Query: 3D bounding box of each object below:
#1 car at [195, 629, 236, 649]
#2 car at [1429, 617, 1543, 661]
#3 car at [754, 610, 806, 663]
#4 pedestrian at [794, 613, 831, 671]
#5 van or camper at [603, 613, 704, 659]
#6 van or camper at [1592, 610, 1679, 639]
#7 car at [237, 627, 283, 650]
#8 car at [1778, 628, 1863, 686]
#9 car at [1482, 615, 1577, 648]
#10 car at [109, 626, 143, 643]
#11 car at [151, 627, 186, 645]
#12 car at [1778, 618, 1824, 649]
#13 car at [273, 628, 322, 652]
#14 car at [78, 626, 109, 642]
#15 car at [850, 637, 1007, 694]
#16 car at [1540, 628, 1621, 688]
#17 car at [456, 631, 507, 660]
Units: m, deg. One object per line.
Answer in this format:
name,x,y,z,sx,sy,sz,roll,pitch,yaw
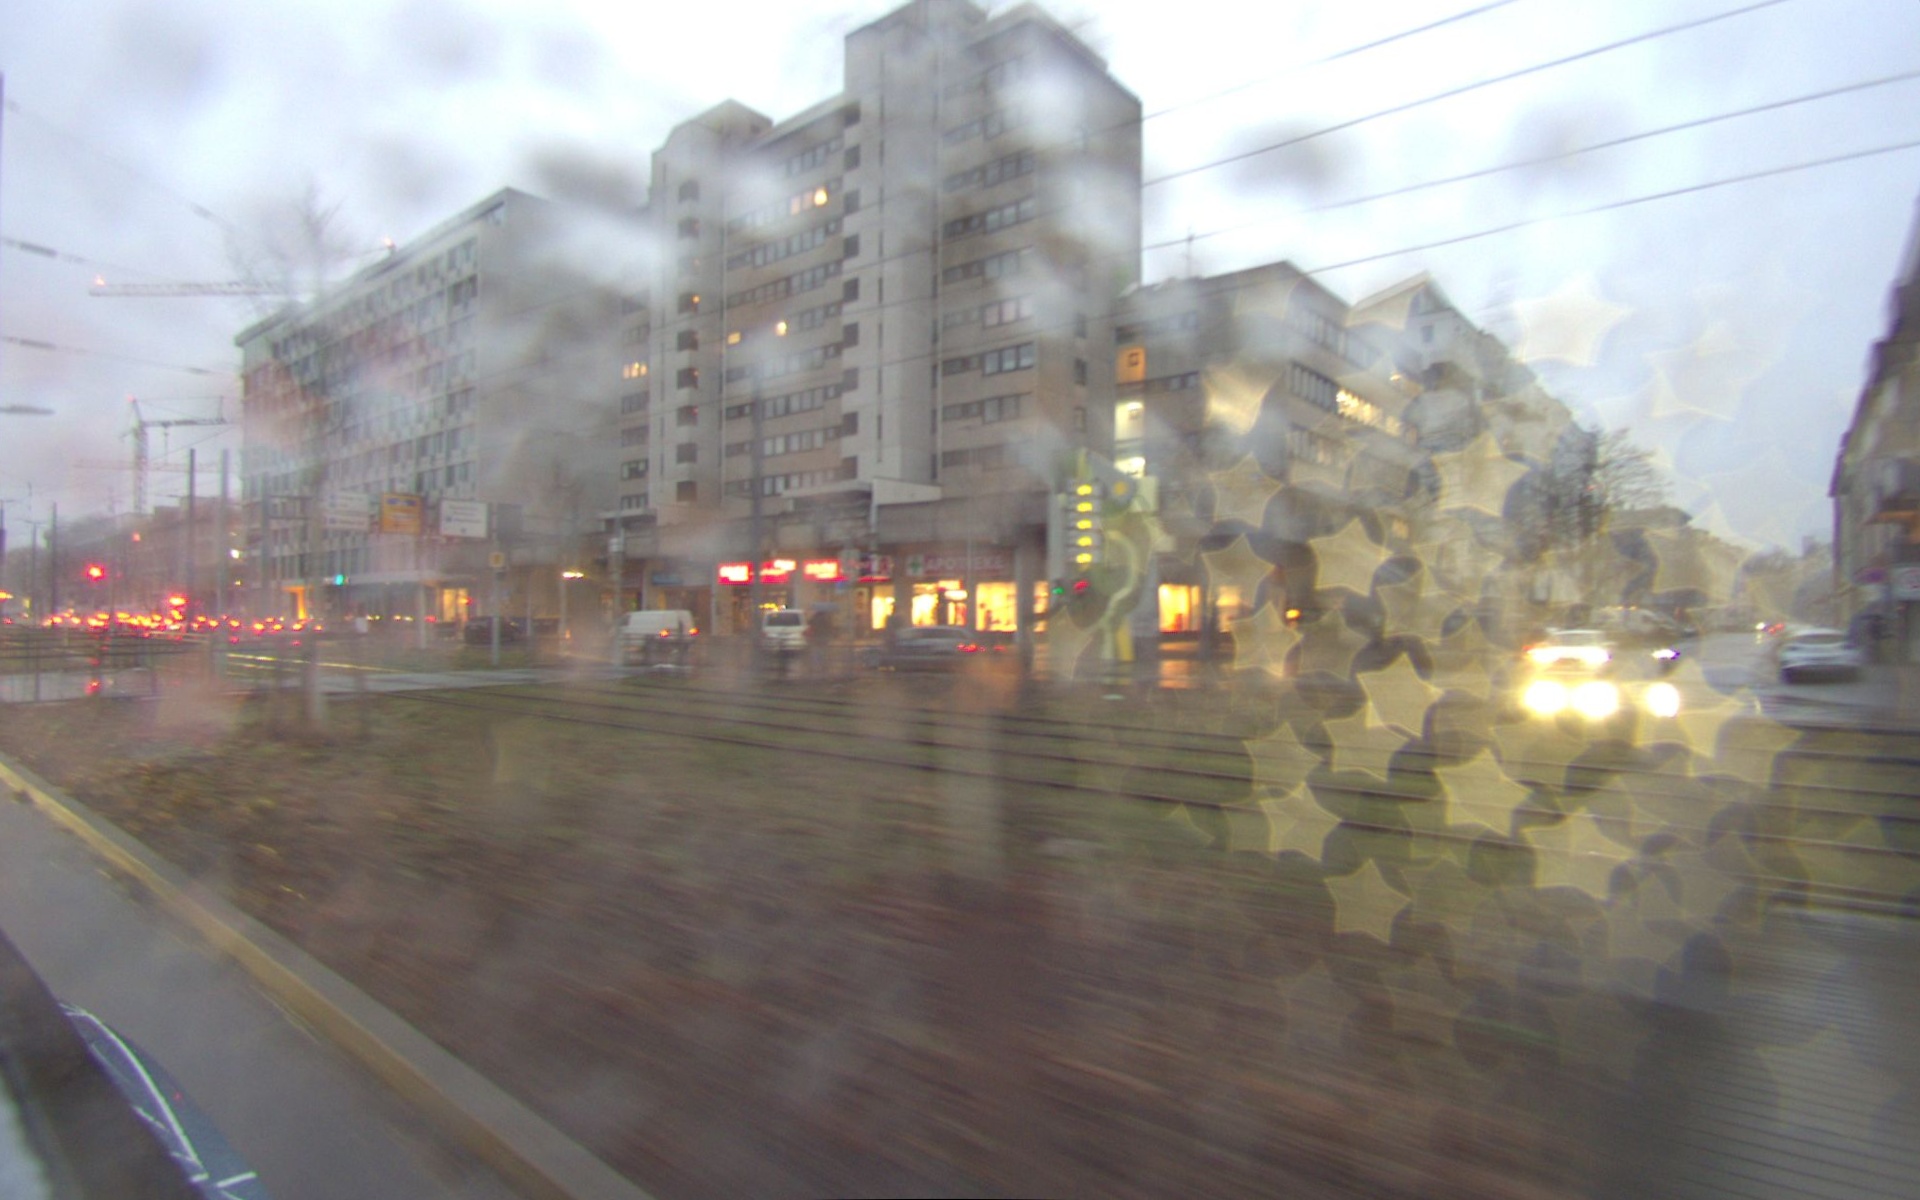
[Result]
car,-58.742,3.073,79.832,3.869,1.460,1.732,-1,-1,39
car,20.083,1.453,38.674,3.634,1.613,1.601,-1,-1,38
car,-7.788,1.540,44.186,1.969,2.029,4.580,-1,1,-7
pedestrian,-3.870,1.089,26.575,0.629,1.501,0.784,-1,-1,33
van or camper,-14.924,1.693,49.055,5.650,2.113,1.973,-1,-1,41
van or camper,54.164,1.961,81.224,5.631,2.260,1.973,-1,-1,41
car,-50.834,2.791,73.494,3.886,1.523,1.732,-1,-1,39
car,25.711,1.648,30.334,1.776,1.564,3.788,-1,-1,39
car,25.873,1.424,46.029,3.574,1.431,1.816,-1,-1,37
car,-74.091,3.052,89.874,3.869,1.460,1.576,-1,-1,39
car,-70.066,3.157,89.583,3.869,1.460,1.576,-1,-1,39
car,43.881,1.717,52.852,1.756,1.564,3.788,-1,-1,39
car,-44.148,2.651,67.409,3.763,1.460,1.656,-1,-1,39
car,-80.799,3.173,94.379,3.869,1.460,1.576,-1,-1,39
car,-1.031,1.995,31.788,4.693,1.557,1.976,-1,-1,35
car,19.092,1.727,31.058,1.683,1.523,3.949,0,1,38
car,-29.703,2.808,62.917,1.656,1.630,3.781,0,-1,-4
